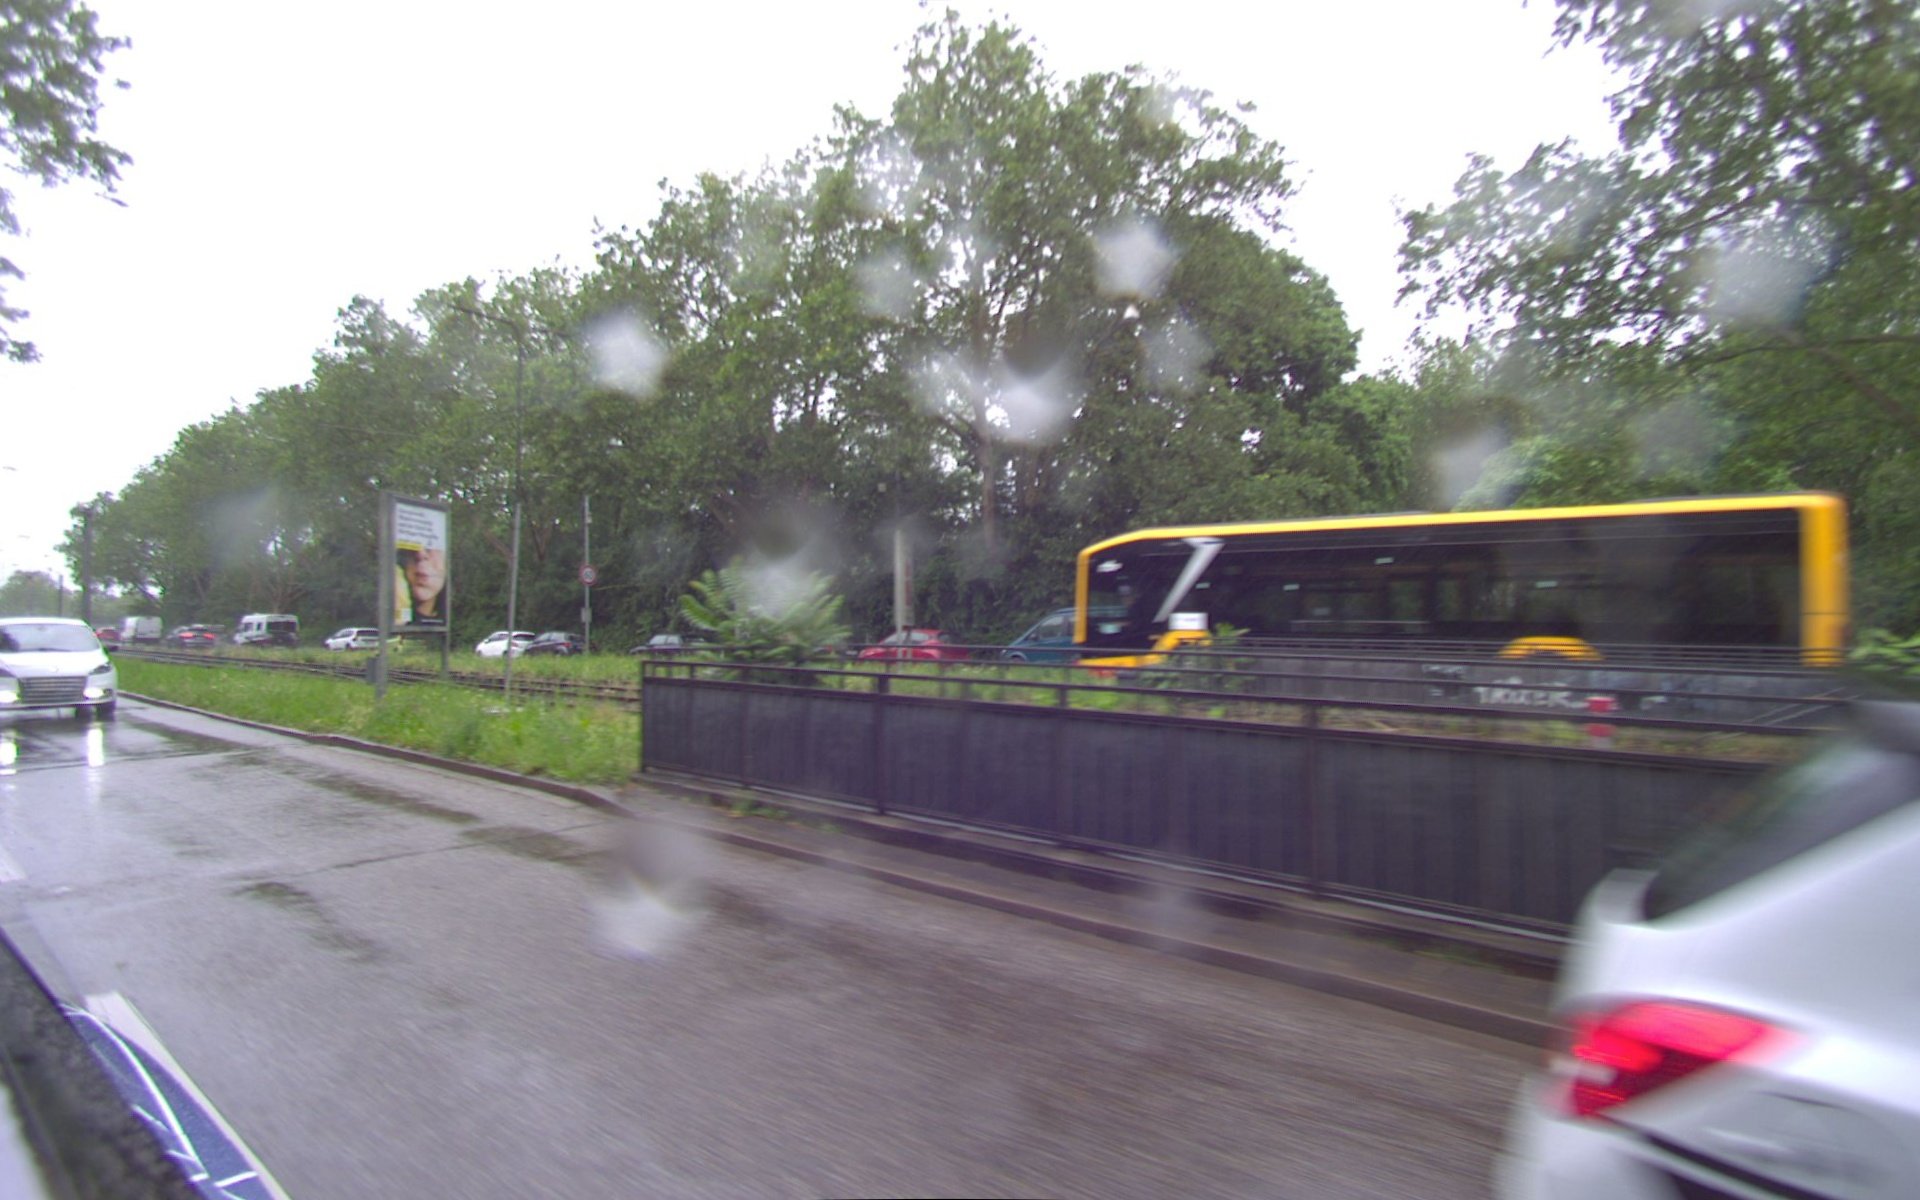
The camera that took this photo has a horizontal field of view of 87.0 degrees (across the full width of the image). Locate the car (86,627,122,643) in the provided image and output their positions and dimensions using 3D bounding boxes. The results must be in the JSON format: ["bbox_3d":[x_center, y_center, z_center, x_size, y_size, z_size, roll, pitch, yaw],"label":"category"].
[{"bbox_3d":[-86.172,3.534,101.884,4.380,1.564,2.013,-1,-3,40],"label":"car"}]

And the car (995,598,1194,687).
[{"bbox_3d":[3.428,1.070,26.278,4.797,2.109,2.012,-1,-3,38],"label":"car"}]

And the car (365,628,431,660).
[{"bbox_3d":[-29.957,2.334,53.897,3.810,1.661,1.743,-1,-3,39],"label":"car"}]

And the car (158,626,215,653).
[{"bbox_3d":[-50.645,2.576,66.256,4.391,1.670,1.993,-1,-3,39],"label":"car"}]

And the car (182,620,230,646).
[{"bbox_3d":[-57.752,2.525,77.479,4.638,1.876,1.936,-1,-3,41],"label":"car"}]

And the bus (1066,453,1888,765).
[{"bbox_3d":[7.768,0.179,17.672,12.237,3.867,2.999,-1,0,41],"label":"bus"}]

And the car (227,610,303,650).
[{"bbox_3d":[-46.256,1.999,67.283,6.560,2.560,2.365,-1,-3,40],"label":"car"}]

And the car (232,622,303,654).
[{"bbox_3d":[-37.795,2.082,55.185,4.272,1.670,2.012,-1,-3,39],"label":"car"}]

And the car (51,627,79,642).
[{"bbox_3d":[-103.023,3.996,116.481,4.366,1.663,1.866,-1,-3,41],"label":"car"}]

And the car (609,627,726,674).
[{"bbox_3d":[-11.218,1.896,38.663,4.606,1.670,2.011,-1,-3,39],"label":"car"}]

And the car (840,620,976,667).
[{"bbox_3d":[-1.614,1.306,30.695,3.981,1.327,1.719,-1,-3,38],"label":"car"}]

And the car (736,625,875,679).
[{"bbox_3d":[-5.199,1.704,33.707,4.606,1.670,2.011,-1,-3,39],"label":"car"}]

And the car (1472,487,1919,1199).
[{"bbox_3d":[2.680,0.613,0.720,3.807,1.490,1.706,0,0,44],"label":"car"}]

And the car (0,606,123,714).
[{"bbox_3d":[-15.778,0.943,17.264,4.264,1.636,1.844,-1,-1,44],"label":"car"}]

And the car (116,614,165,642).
[{"bbox_3d":[-74.233,2.495,91.638,6.136,2.465,2.305,-1,-3,41],"label":"car"}]

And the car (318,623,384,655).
[{"bbox_3d":[-34.525,2.214,57.339,4.527,1.741,1.732,-1,-3,40],"label":"car"}]

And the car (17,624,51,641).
[{"bbox_3d":[-98.873,3.496,108.028,4.255,1.764,2.011,-1,-3,39],"label":"car"}]

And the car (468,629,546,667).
[{"bbox_3d":[-21.003,2.196,46.867,3.810,1.661,1.743,-1,-3,39],"label":"car"}]

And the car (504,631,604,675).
[{"bbox_3d":[-17.638,2.275,43.901,4.689,1.764,2.011,-1,-3,39],"label":"car"}]
